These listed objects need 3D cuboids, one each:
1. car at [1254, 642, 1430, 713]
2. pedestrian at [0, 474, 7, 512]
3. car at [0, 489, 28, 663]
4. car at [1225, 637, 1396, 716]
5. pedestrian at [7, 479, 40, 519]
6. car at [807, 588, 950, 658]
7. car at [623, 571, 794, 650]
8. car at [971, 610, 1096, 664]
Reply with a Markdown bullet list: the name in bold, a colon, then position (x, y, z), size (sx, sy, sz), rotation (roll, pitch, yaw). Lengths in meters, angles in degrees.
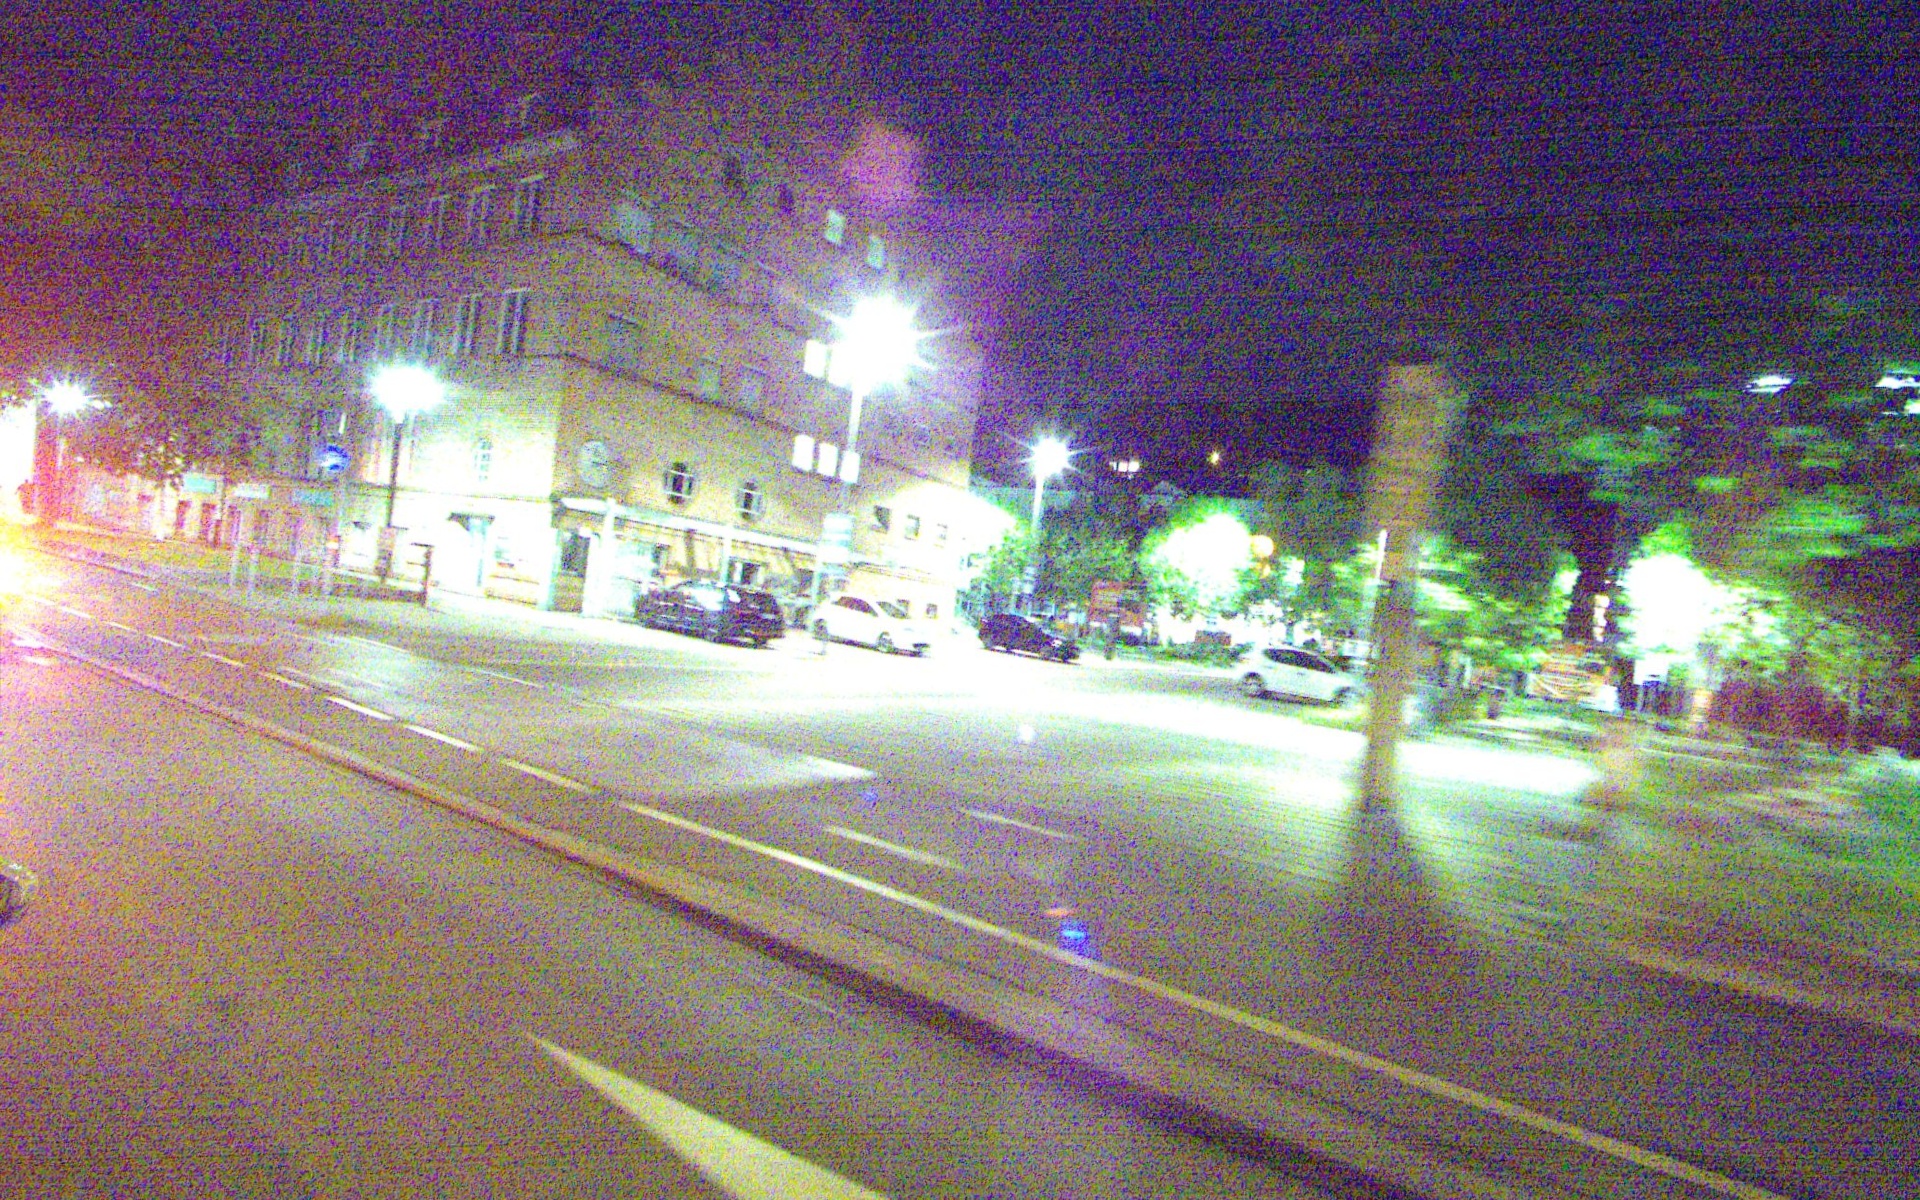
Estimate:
- **car**: position (12.085, 2.422, 31.934), size (4.811, 1.531, 1.891), rotation (7, 0, 32)
- **pedestrian**: position (-46.836, -5.224, 48.673), size (0.892, 1.791, 0.739), rotation (8, 2, 33)
- **car**: position (-10.732, -0.531, 9.434), size (4.654, 1.510, 1.808), rotation (7, -2, 34)
- **car**: position (9.656, 2.089, 27.831), size (4.032, 1.552, 1.770), rotation (7, 0, 34)
- **pedestrian**: position (-46.163, -4.974, 49.596), size (0.892, 1.791, 0.901), rotation (8, 1, 33)
- **car**: position (-2.477, 0.679, 30.284), size (3.938, 1.552, 1.782), rotation (7, 0, 36)
- **car**: position (-6.371, 0.228, 25.254), size (4.410, 1.412, 1.513), rotation (7, 0, 34)
- **car**: position (2.770, 1.396, 38.252), size (4.171, 1.446, 1.996), rotation (7, 0, 33)
